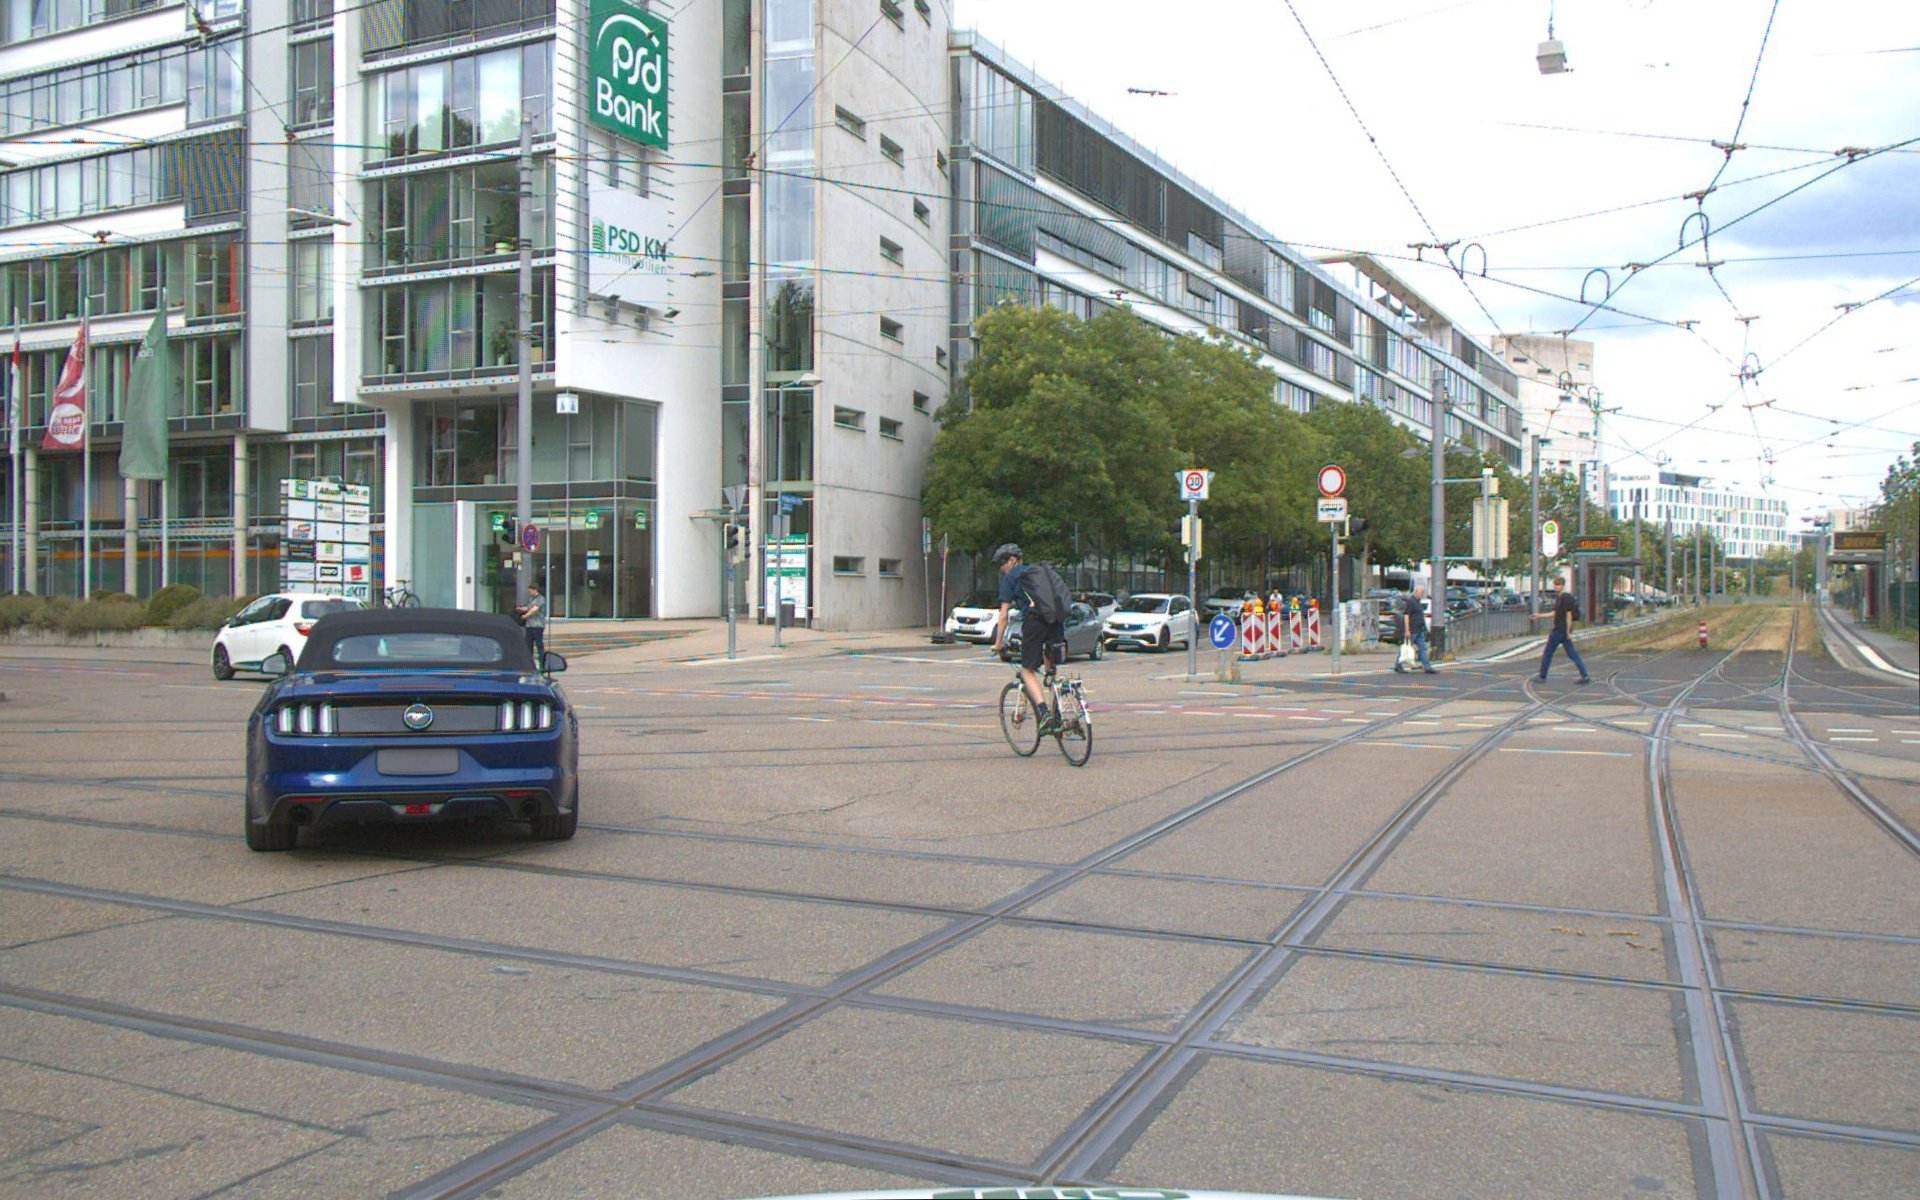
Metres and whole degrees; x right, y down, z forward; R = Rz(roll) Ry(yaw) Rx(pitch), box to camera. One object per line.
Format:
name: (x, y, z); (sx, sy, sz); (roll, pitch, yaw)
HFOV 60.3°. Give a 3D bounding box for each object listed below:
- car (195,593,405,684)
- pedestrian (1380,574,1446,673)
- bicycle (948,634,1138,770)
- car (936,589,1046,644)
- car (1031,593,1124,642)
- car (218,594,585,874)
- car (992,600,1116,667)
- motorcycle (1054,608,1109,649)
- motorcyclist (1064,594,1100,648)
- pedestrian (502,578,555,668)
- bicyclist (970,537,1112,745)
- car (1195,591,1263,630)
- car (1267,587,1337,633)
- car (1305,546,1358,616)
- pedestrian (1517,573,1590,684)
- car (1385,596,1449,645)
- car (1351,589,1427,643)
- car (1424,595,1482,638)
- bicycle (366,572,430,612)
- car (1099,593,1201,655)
car: (-11.527, 0.616, 28.776); (4.114, 1.464, 1.829); (0, 0, 43)
pedestrian: (8.880, 0.452, 32.447); (0.973, 1.888, 0.897); (0, 0, 40)
bicycle: (0.721, 0.892, 15.209); (0.791, 1.105, 2.112); (0, 0, -28)
car: (1.015, 0.486, 51.480); (1.794, 1.584, 4.213); (2, 1, 26)
car: (4.153, 0.566, 58.019); (1.794, 1.584, 4.213); (2, 1, 26)
car: (-3.430, 0.693, 10.869); (1.844, 1.428, 4.267); (0, 0, -13)
car: (2.469, 0.810, 42.437); (1.635, 1.533, 4.231); (2, 1, 26)
motorcycle: (3.773, 0.863, 51.206); (0.809, 1.220, 2.500); (1, 0, 26)
motorcyclist: (3.785, 0.639, 51.220); (0.803, 1.645, 0.881); (1, 0, 26)
pedestrian: (-9.231, 0.481, 35.397); (0.819, 1.897, 0.763); (0, 0, 35)
bicyclist: (0.729, 0.353, 15.194); (0.787, 1.817, 1.221); (0, 0, -29)
car: (12.154, 0.443, 74.389); (1.946, 1.583, 4.511); (2, 1, 23)
car: (13.451, 0.358, 64.927); (1.681, 1.689, 4.129); (2, 1, 26)
car: (20.589, -1.056, 91.470); (1.946, 3.700, 4.511); (2, 1, 23)
pedestrian: (10.556, 0.500, 29.397); (1.066, 1.931, 0.900); (0, 0, 32)
car: (15.954, 0.683, 57.627); (1.670, 1.634, 4.078); (0, 0, 22)
car: (13.761, 0.480, 52.876); (1.841, 1.657, 4.086); (0, 0, 22)
car: (19.483, 0.615, 65.253); (1.830, 1.634, 4.212); (0, 0, 22)
bicycle: (-17.353, -0.227, 51.092); (0.573, 1.197, 2.113); (2, 0, 24)
car: (5.669, 0.673, 48.955); (1.681, 1.689, 4.129); (2, 1, 26)
